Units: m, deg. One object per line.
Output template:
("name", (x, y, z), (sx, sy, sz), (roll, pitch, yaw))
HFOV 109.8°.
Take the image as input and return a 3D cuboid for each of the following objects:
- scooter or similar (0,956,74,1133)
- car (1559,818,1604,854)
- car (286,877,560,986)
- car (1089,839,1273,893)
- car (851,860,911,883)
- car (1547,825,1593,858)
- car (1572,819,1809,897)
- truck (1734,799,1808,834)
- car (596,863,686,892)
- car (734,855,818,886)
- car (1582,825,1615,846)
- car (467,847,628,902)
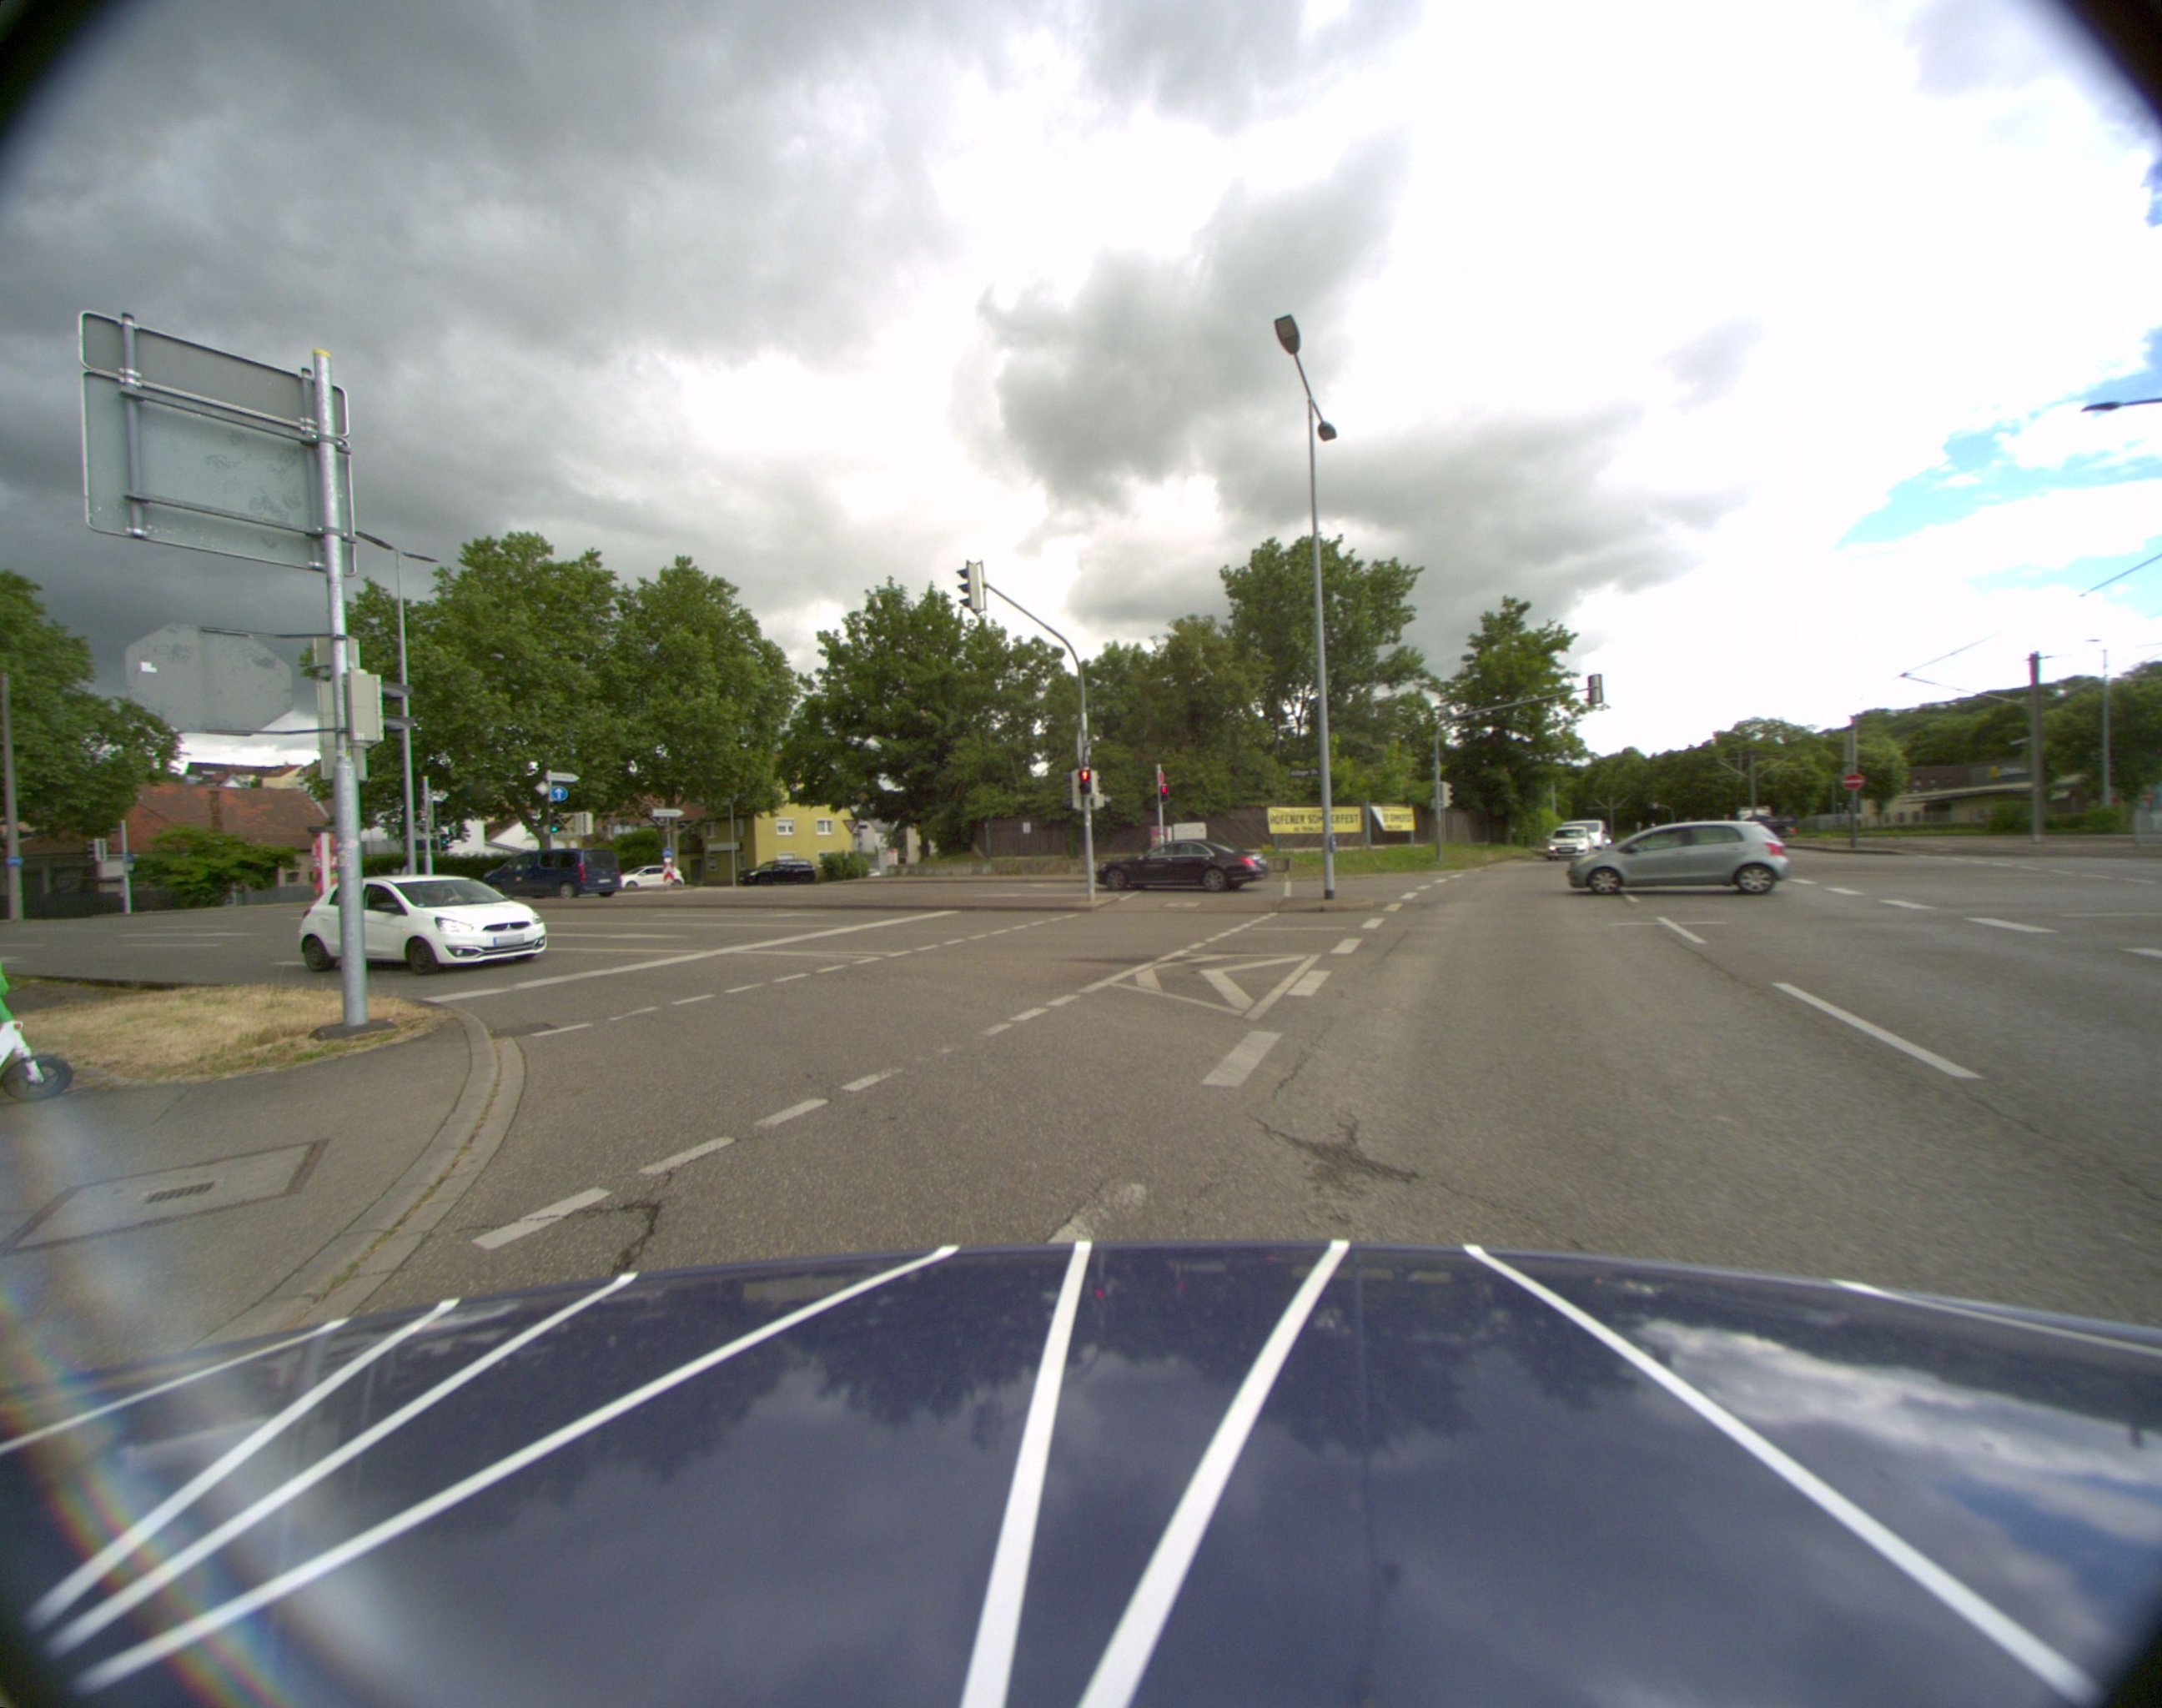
("scooter or similar", (-7.582, 1.305, 4.856), (0.653, 1.105, 1.233), (-2, 1, 27))
("car", (26.699, -0.975, 40.451), (1.805, 1.815, 4.007), (-1, 1, 36))
("car", (-10.589, 1.172, 12.278), (3.597, 1.440, 1.676), (-1, 3, 19))
("car", (2.890, 0.329, 22.288), (4.982, 1.442, 1.834), (-1, 2, 28))
("car", (-14.300, 1.219, 54.469), (1.658, 1.390, 3.886), (0, 2, 43))
("car", (22.829, -0.608, 35.415), (1.716, 1.410, 4.007), (0, 2, 35))
("car", (12.867, 0.097, 16.255), (3.778, 1.479, 1.680), (-2, 1, 39))
("truck", (74.783, -3.964, 82.567), (3.429, 3.539, 8.712), (-1, 2, 25))
("car", (-24.082, 1.268, 41.685), (1.807, 1.313, 3.810), (-2, 1, 32))
("car", (-19.268, 1.024, 48.204), (1.807, 1.642, 4.600), (-2, 1, 39))
("car", (39.917, -1.467, 58.553), (1.994, 1.527, 4.007), (0, 2, 36))
("car", (-18.245, 0.692, 26.081), (4.469, 1.696, 1.832), (-2, 1, 10))
